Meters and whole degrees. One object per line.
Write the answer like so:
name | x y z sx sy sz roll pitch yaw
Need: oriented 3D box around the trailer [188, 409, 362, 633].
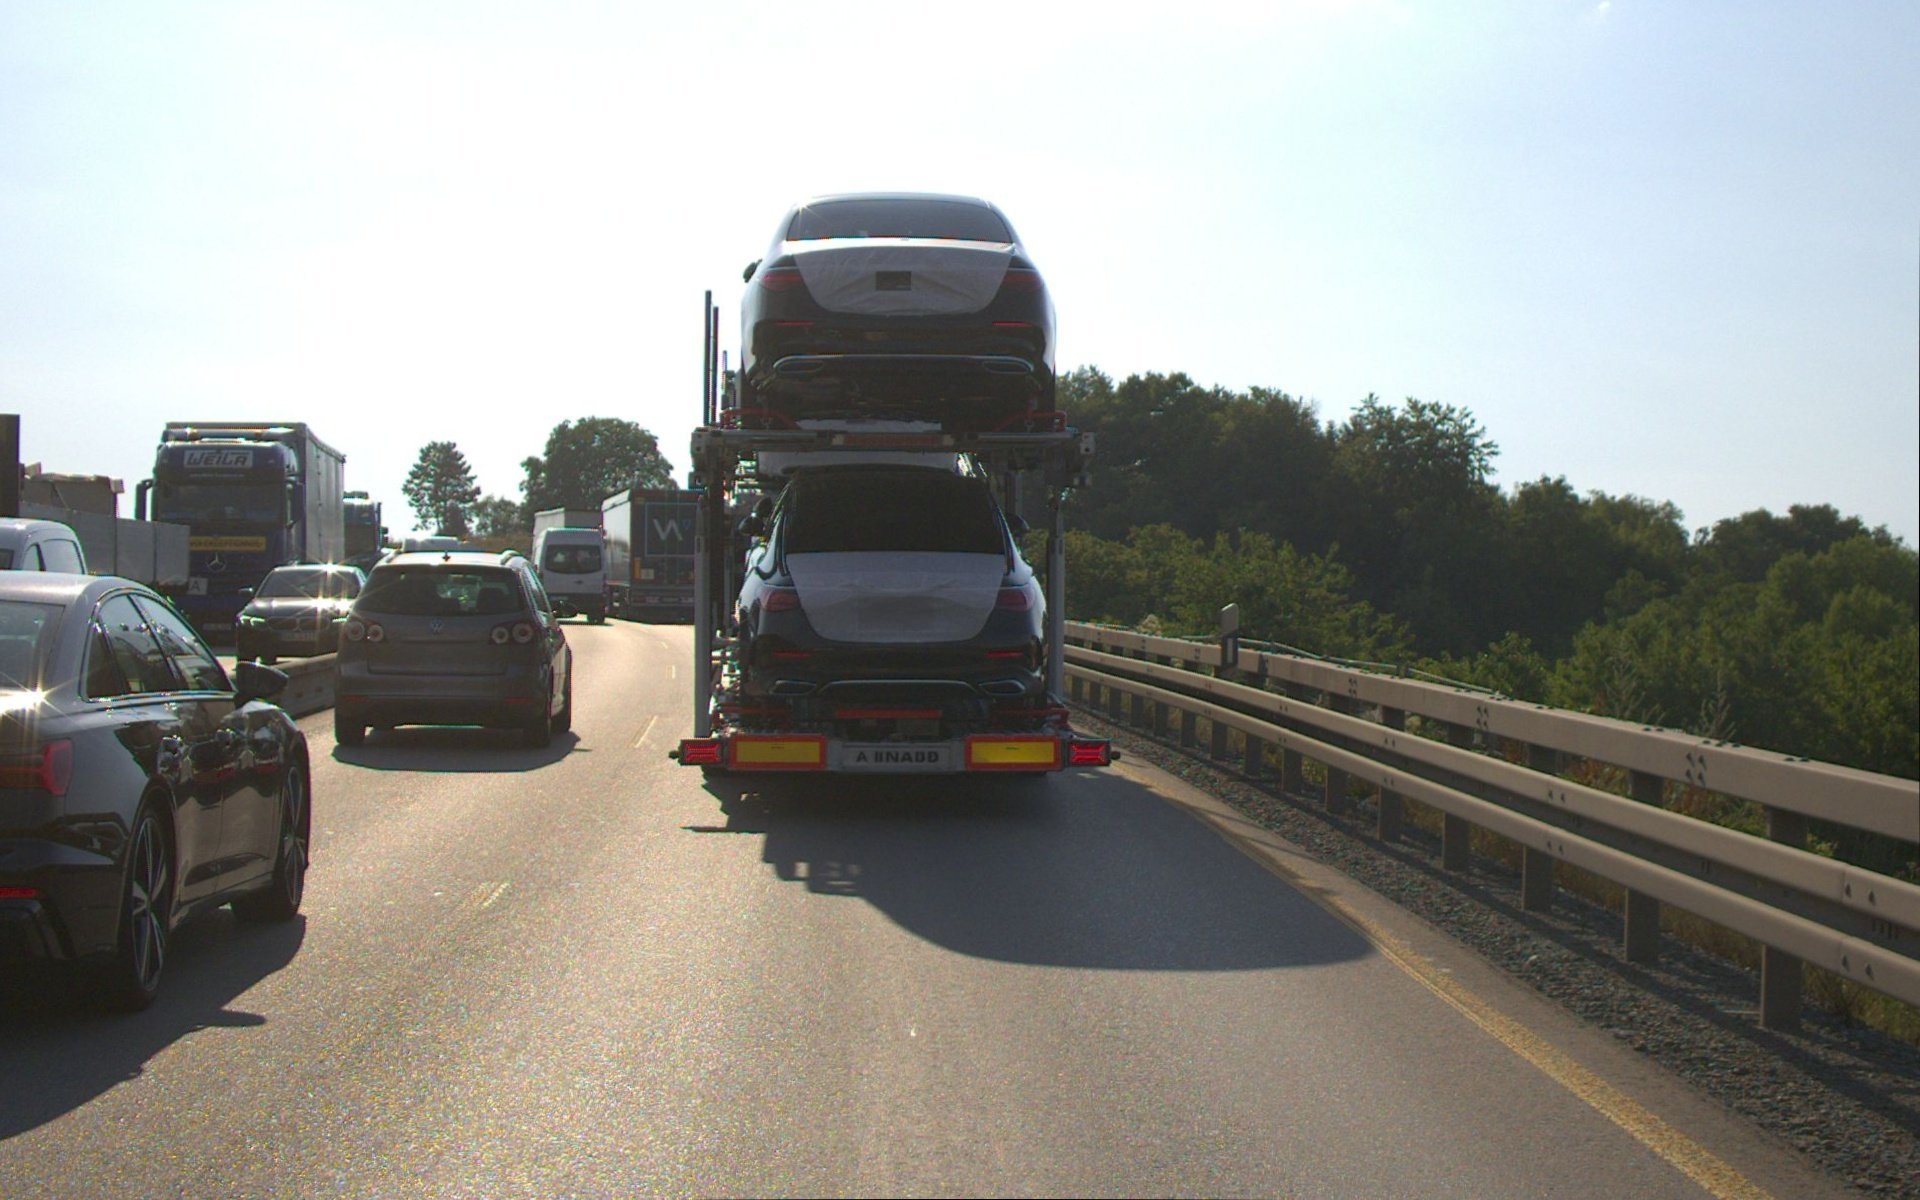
trailer | -13.958 -1.510 70.984 2.306 4.116 14.604 0 0 -7

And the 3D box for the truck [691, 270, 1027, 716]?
truck | -1.141 -0.937 34.240 2.837 3.779 9.988 0 0 -3

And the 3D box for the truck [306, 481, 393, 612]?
truck | -19.432 -1.682 109.660 2.502 4.052 5.885 0 0 -8

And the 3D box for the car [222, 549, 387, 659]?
car | -9.429 0.035 49.736 1.793 1.506 4.587 0 0 -4

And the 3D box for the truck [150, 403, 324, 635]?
truck | -13.237 -1.442 63.265 2.503 4.052 5.666 0 0 -6

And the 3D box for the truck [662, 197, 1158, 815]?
truck | -0.578 -0.561 24.823 2.799 3.485 10.606 0 0 -3

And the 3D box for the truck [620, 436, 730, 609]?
truck | -9.035 -2.384 109.089 3.285 5.219 9.937 0 0 -5

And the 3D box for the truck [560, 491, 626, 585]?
truck | -14.728 -2.446 138.425 2.530 3.635 8.907 0 0 -5

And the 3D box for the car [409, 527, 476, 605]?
car | -16.928 -1.103 112.680 2.056 2.491 6.777 0 0 -8

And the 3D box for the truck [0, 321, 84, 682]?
truck | -11.324 -1.032 36.812 2.600 3.741 6.518 0 0 -4

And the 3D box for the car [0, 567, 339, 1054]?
car | -3.621 0.594 12.572 1.934 1.394 4.961 1 1 -2

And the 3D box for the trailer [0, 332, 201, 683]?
trailer | -11.777 -1.031 43.256 2.519 3.712 13.981 0 0 -5

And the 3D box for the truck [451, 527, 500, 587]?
truck | -26.431 -2.326 187.588 2.590 3.159 6.678 0 0 -8

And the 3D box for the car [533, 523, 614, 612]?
car | -11.072 -0.922 98.790 1.920 2.484 5.409 0 0 -3

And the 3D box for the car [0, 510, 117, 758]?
car | -7.529 0.213 25.632 1.756 1.689 4.454 0 0 -5

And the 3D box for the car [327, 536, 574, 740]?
car | -4.204 0.286 28.852 1.691 1.590 4.000 0 0 -3

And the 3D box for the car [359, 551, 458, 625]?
car | -11.515 -0.259 71.989 1.758 1.503 4.255 0 0 -5
